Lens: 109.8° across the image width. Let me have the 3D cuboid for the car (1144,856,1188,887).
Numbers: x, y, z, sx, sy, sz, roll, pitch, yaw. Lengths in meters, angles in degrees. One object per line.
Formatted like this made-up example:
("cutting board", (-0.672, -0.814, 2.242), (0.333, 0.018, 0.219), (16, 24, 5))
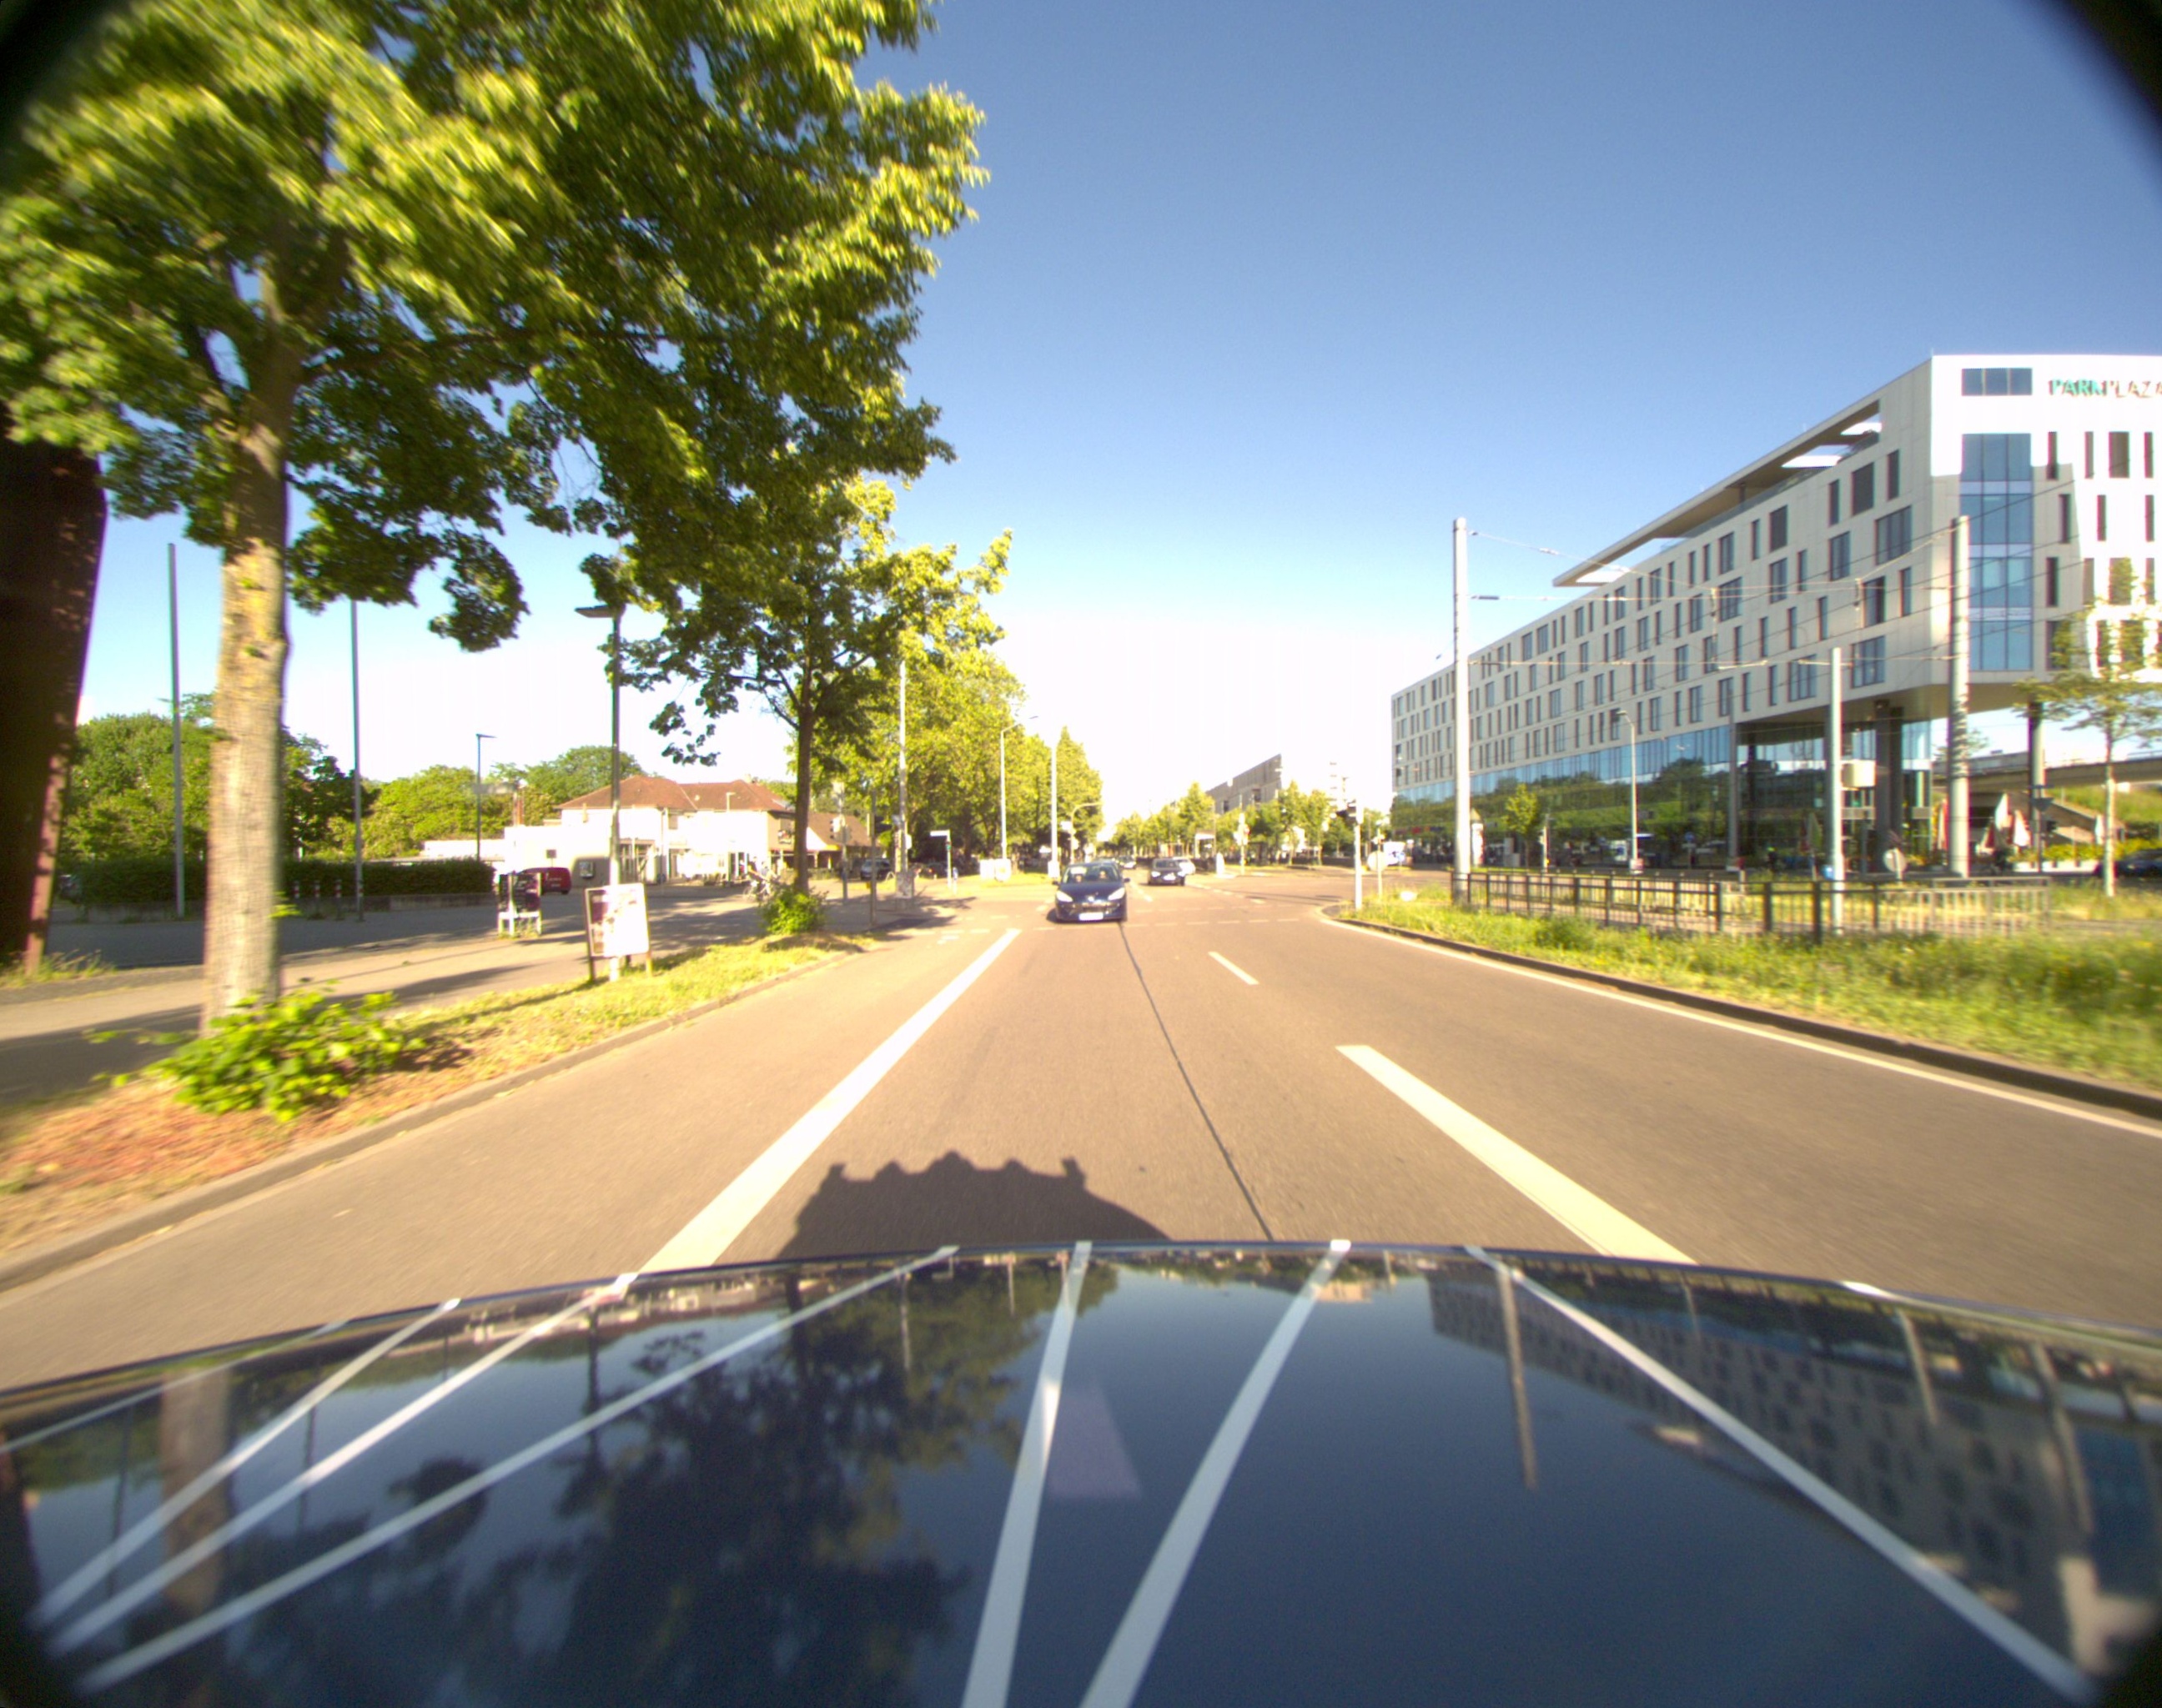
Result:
("car", (4.472, 0.890, 40.555), (1.803, 1.518, 4.343), (-3, 0, 0))

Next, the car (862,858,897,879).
("car", (-19.978, 1.419, 75.714), (1.898, 2.025, 5.071), (0, 0, 3))

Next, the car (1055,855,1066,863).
("car", (-4.129, 0.976, 156.196), (1.998, 1.576, 4.000), (-2, 0, 2))

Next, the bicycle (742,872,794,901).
("bicycle", (-13.312, 1.388, 32.356), (2.100, 1.196, 0.552), (-1, 0, 12))

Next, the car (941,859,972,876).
("car", (-12.153, 1.274, 74.163), (1.898, 1.479, 4.348), (-2, 0, 5))

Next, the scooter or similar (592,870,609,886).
("scooter or similar", (-35.093, 1.746, 55.466), (1.014, 1.157, 0.261), (-1, 0, -42))

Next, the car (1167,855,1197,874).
("car", (8.084, 0.789, 61.224), (1.676, 1.418, 4.004), (-3, 0, -3))

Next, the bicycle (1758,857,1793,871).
("bicycle", (43.134, 0.601, 47.208), (0.529, 0.857, 1.834), (-1, 0, 2))

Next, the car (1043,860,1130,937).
("car", (0.274, 0.973, 18.630), (1.802, 1.518, 4.606), (-3, 0, 4))

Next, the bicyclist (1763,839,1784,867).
("bicyclist", (43.123, -0.054, 47.295), (0.531, 1.716, 0.837), (-1, 0, 2))

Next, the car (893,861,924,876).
("car", (-19.331, 1.641, 85.553), (1.898, 1.477, 4.915), (-2, 0, 6))

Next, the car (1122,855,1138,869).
("car", (5.709, 0.922, 89.524), (1.675, 1.418, 4.006), (-3, 0, 2))

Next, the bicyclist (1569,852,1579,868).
("bicyclist", (42.884, 0.502, 66.077), (0.483, 1.414, 0.553), (-1, 0, -5))

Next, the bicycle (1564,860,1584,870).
("bicycle", (42.887, 0.943, 66.104), (0.483, 0.857, 1.691), (-1, 0, -4))

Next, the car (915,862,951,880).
("car", (-12.606, 1.432, 64.826), (1.898, 1.403, 4.348), (-2, 0, 4))

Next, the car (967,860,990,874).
("car", (-11.281, 1.391, 83.709), (1.898, 1.477, 4.050), (-2, 0, 1))

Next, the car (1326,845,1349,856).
("car", (36.430, -0.464, 107.977), (1.803, 1.518, 4.343), (-3, 0, 0))

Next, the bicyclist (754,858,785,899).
("bicyclist", (-13.246, 1.028, 32.315), (0.876, 1.727, 0.833), (-1, 0, 12))

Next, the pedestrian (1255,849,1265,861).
("pedestrian", (22.403, 0.141, 95.149), (1.068, 1.458, 0.844), (-2, 0, 6))

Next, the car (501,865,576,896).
("car", (-34.444, 1.695, 48.264), (4.105, 1.804, 1.857), (-3, -1, 20))

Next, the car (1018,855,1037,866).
("car", (-8.211, 0.983, 116.871), (1.997, 1.587, 4.657), (-2, 0, 7))

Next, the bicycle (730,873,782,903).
("bicycle", (-13.441, 1.390, 31.424), (2.100, 1.196, 0.552), (-1, 0, 15))

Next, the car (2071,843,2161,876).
("car", (52.440, 0.266, 37.636), (3.996, 1.556, 2.001), (-1, 0, 4))

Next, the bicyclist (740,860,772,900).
("bicyclist", (-13.421, 1.079, 31.400), (0.876, 1.644, 0.794), (-1, 0, 12))

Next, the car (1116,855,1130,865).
("car", (6.394, 0.897, 116.110), (1.839, 1.483, 4.006), (-3, 0, 1))

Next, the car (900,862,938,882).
("car", (-12.819, 1.412, 60.352), (1.898, 1.456, 4.038), (-2, 0, 4))

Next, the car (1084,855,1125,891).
("car", (1.181, 0.842, 36.199), (1.802, 1.518, 4.606), (-3, 0, 3))

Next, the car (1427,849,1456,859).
("car", (59.624, -0.018, 125.709), (3.998, 1.347, 1.876), (-3, 0, -3))

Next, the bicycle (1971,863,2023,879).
("bicycle", (49.407, 0.918, 40.985), (1.829, 0.858, 0.749), (-1, 0, 3))

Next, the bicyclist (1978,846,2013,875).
("bicyclist", (49.334, 0.349, 40.986), (0.955, 1.574, 0.751), (-1, 0, 3))
